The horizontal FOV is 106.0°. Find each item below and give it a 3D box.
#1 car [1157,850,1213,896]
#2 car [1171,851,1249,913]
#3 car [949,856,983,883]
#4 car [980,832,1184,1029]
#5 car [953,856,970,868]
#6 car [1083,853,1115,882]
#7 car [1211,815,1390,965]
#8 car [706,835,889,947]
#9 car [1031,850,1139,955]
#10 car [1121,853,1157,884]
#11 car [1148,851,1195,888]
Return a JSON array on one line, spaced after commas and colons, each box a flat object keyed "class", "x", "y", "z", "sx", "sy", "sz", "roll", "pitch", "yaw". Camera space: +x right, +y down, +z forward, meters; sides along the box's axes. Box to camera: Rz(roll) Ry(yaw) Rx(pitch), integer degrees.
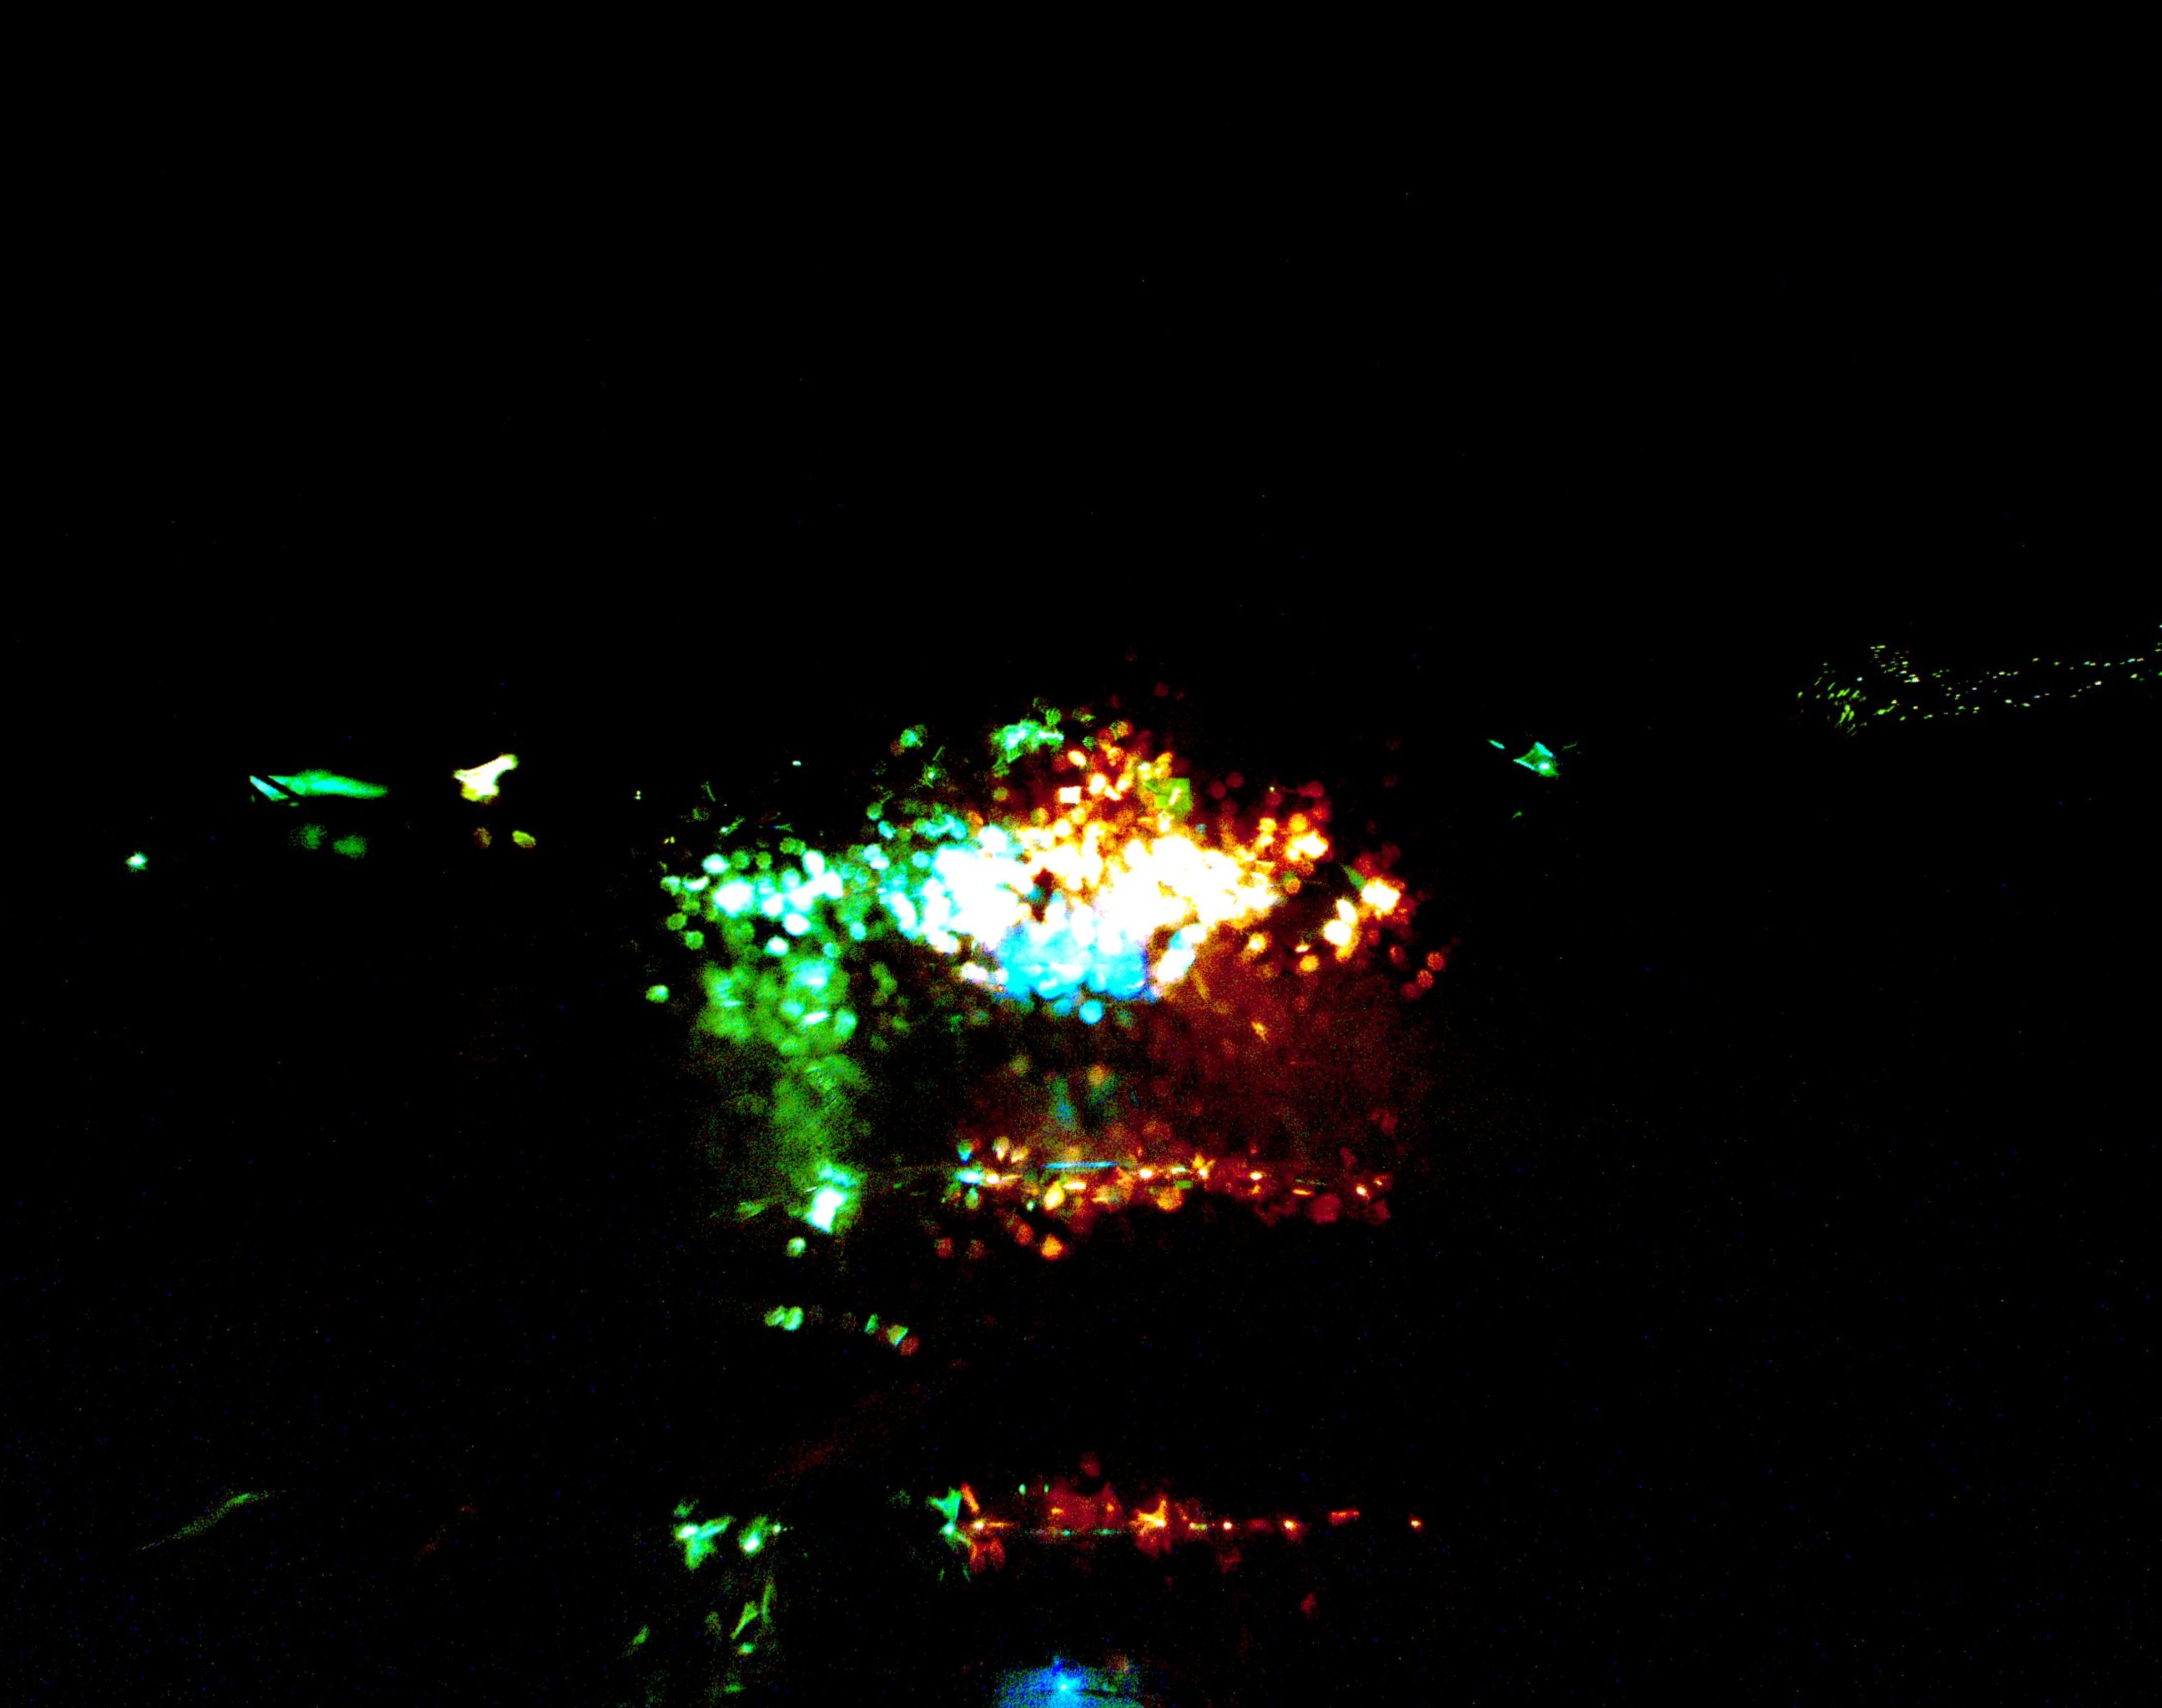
[{"class": "car", "x": 3.556, "y": 0.636, "z": 28.414, "sx": 1.656, "sy": 1.450, "sz": 4.054, "roll": -2, "pitch": -1, "yaw": 4}, {"class": "car", "x": 3.348, "y": 0.664, "z": 21.753, "sx": 1.759, "sy": 1.450, "sz": 4.224, "roll": -1, "pitch": 0, "yaw": 5}, {"class": "car", "x": -6.595, "y": 0.878, "z": 46.974, "sx": 1.717, "sy": 1.442, "sz": 3.733, "roll": -1, "pitch": 0, "yaw": -5}, {"class": "car", "x": 0.070, "y": 0.653, "z": 8.736, "sx": 1.688, "sy": 1.630, "sz": 3.854, "roll": -1, "pitch": -1, "yaw": 2}, {"class": "car", "x": -14.094, "y": 0.930, "z": 96.416, "sx": 1.717, "sy": 1.442, "sz": 3.733, "roll": -1, "pitch": 0, "yaw": -5}, {"class": "car", "x": 1.047, "y": 0.789, "z": 49.439, "sx": 1.704, "sy": 1.638, "sz": 3.728, "roll": -3, "pitch": 0, "yaw": -2}, {"class": "car", "x": 3.280, "y": 0.473, "z": 13.028, "sx": 1.934, "sy": 1.972, "sz": 4.222, "roll": -1, "pitch": 0, "yaw": 3}, {"class": "car", "x": -5.486, "y": 0.643, "z": 16.516, "sx": 1.987, "sy": 1.912, "sz": 4.742, "roll": -1, "pitch": 0, "yaw": 0}, {"class": "car", "x": 0.135, "y": 0.787, "z": 15.224, "sx": 1.702, "sy": 1.638, "sz": 3.732, "roll": -2, "pitch": 0, "yaw": 2}, {"class": "car", "x": 2.945, "y": 0.738, "z": 41.918, "sx": 1.657, "sy": 1.450, "sz": 4.051, "roll": -1, "pitch": -1, "yaw": 1}, {"class": "car", "x": 3.832, "y": 0.633, "z": 34.947, "sx": 1.657, "sy": 1.450, "sz": 4.051, "roll": -1, "pitch": 0, "yaw": 1}]
